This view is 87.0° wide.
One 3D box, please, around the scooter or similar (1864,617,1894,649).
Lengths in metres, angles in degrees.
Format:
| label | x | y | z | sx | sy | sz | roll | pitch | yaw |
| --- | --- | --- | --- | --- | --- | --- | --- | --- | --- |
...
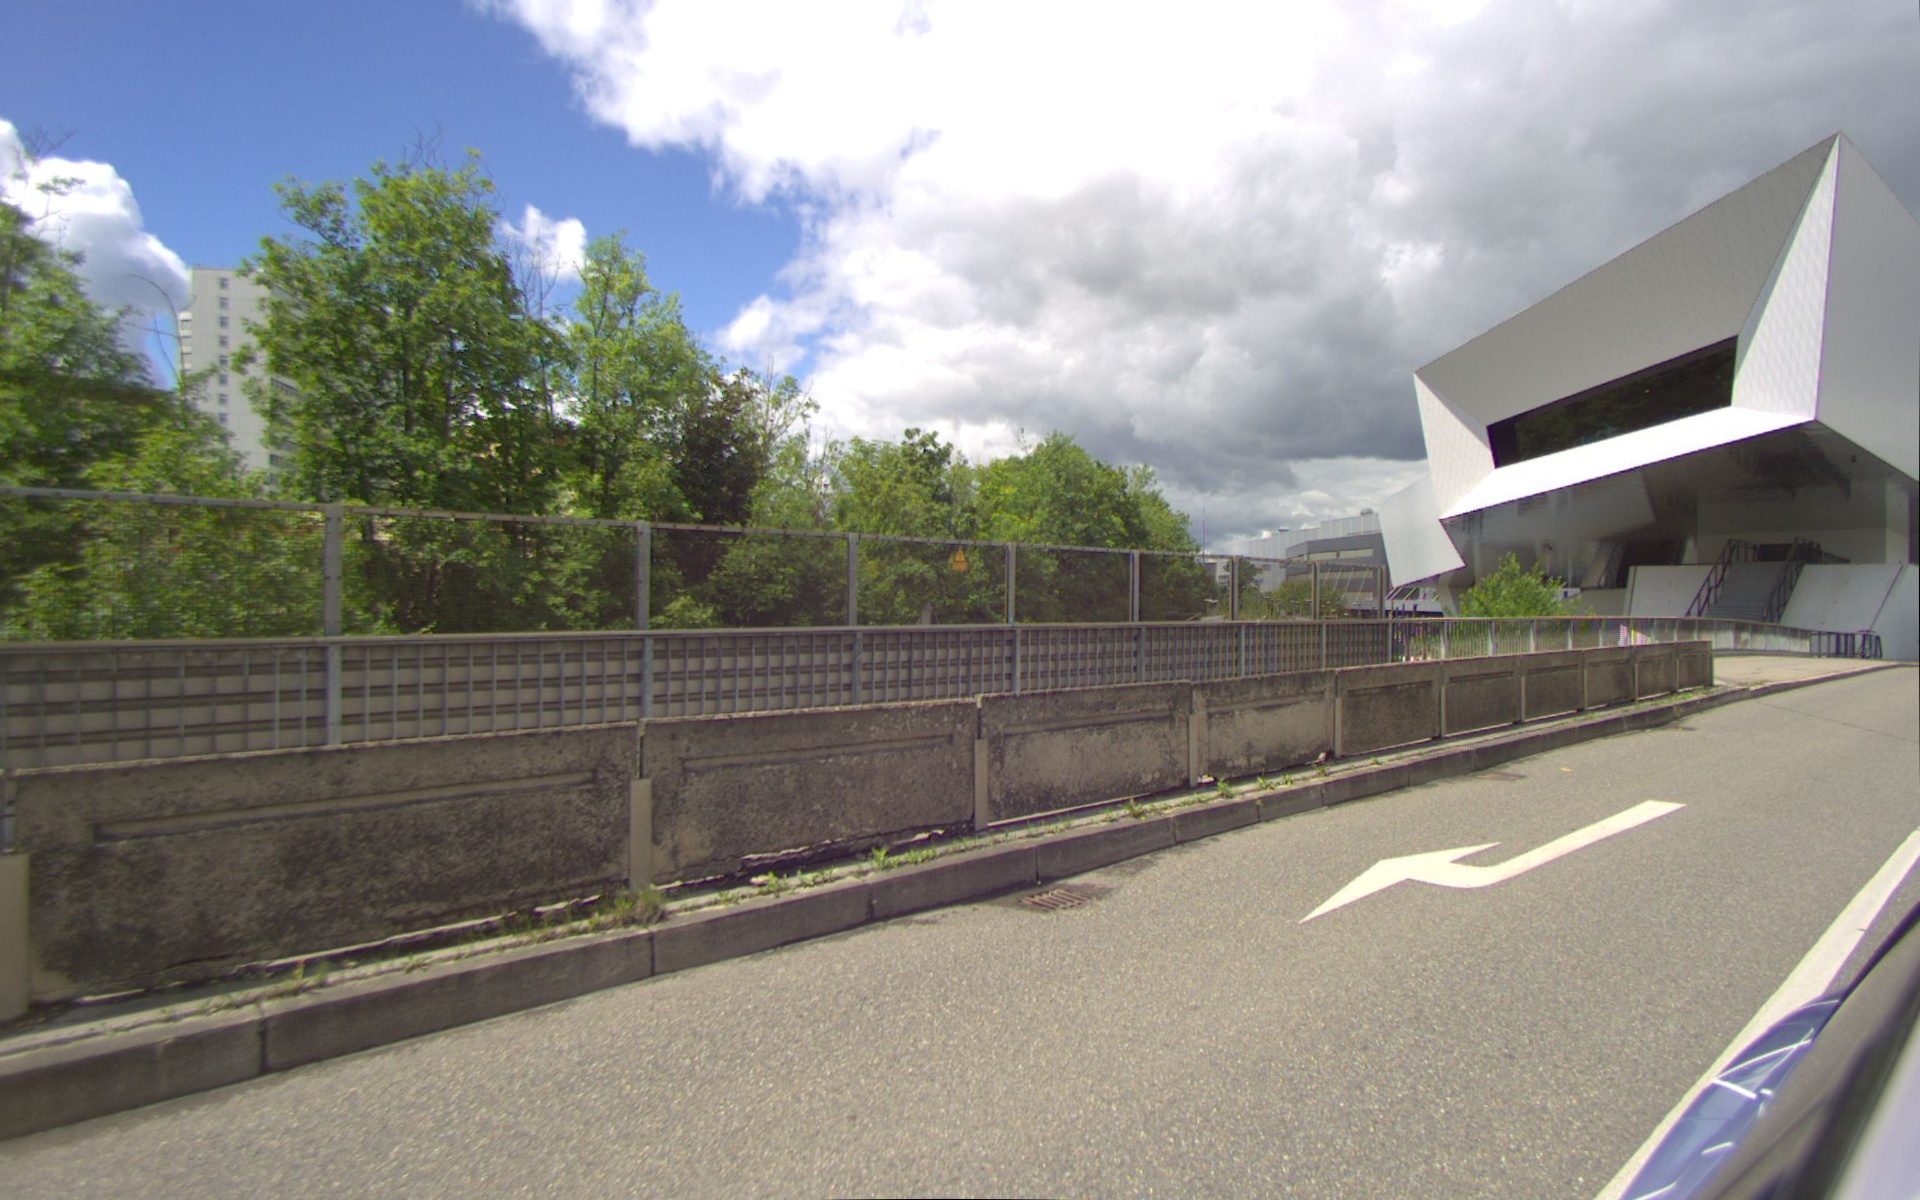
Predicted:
| label | x | y | z | sx | sy | sz | roll | pitch | yaw |
| --- | --- | --- | --- | --- | --- | --- | --- | --- | --- |
| scooter or similar | 36.765 | 1.327 | 40.462 | 1.824 | 1.229 | 0.654 | 2 | -1 | -41 |
